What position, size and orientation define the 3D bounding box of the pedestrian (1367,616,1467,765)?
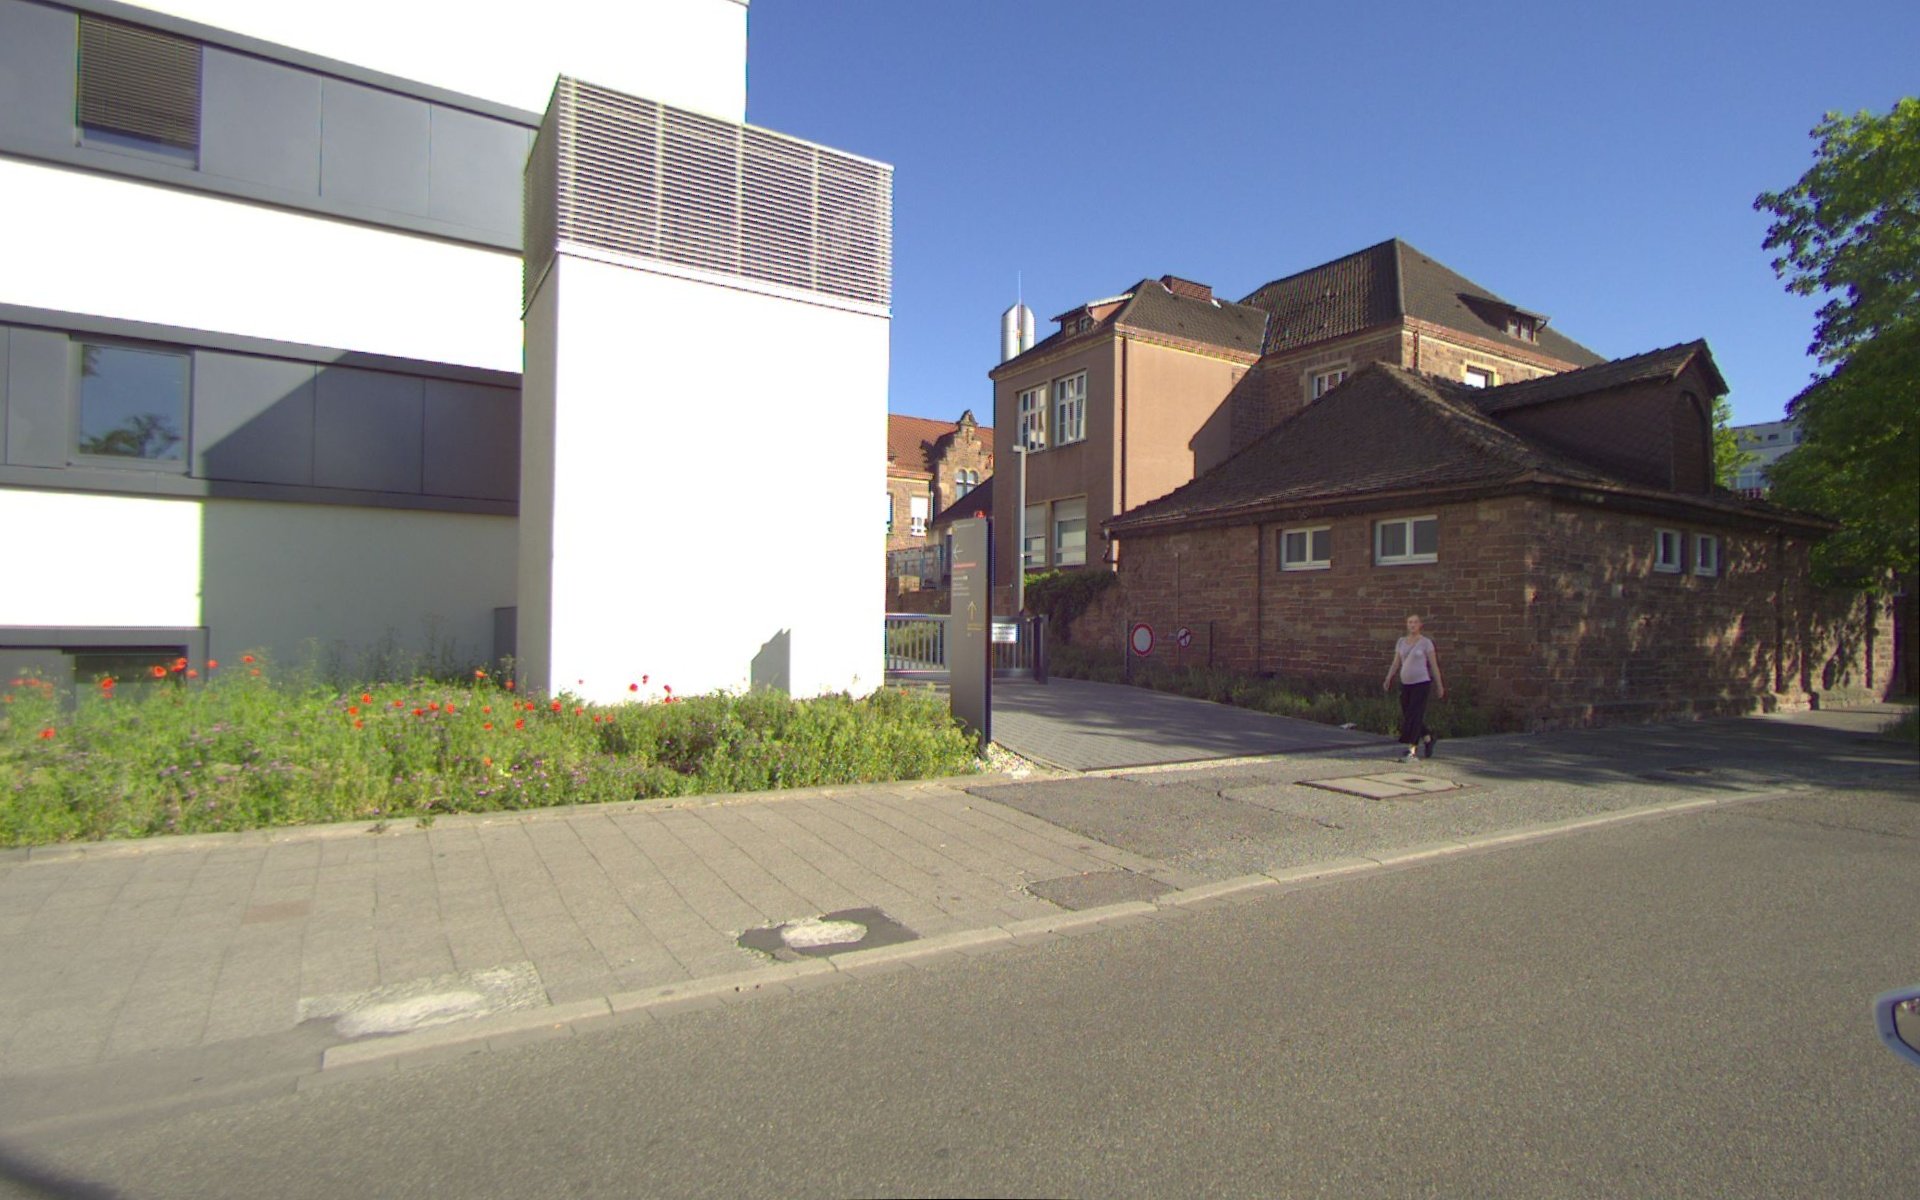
[{"bbox_3d":[5.124,0.979,11.248,1.084,1.583,0.518,1,-1,-32],"label":"pedestrian"}]
